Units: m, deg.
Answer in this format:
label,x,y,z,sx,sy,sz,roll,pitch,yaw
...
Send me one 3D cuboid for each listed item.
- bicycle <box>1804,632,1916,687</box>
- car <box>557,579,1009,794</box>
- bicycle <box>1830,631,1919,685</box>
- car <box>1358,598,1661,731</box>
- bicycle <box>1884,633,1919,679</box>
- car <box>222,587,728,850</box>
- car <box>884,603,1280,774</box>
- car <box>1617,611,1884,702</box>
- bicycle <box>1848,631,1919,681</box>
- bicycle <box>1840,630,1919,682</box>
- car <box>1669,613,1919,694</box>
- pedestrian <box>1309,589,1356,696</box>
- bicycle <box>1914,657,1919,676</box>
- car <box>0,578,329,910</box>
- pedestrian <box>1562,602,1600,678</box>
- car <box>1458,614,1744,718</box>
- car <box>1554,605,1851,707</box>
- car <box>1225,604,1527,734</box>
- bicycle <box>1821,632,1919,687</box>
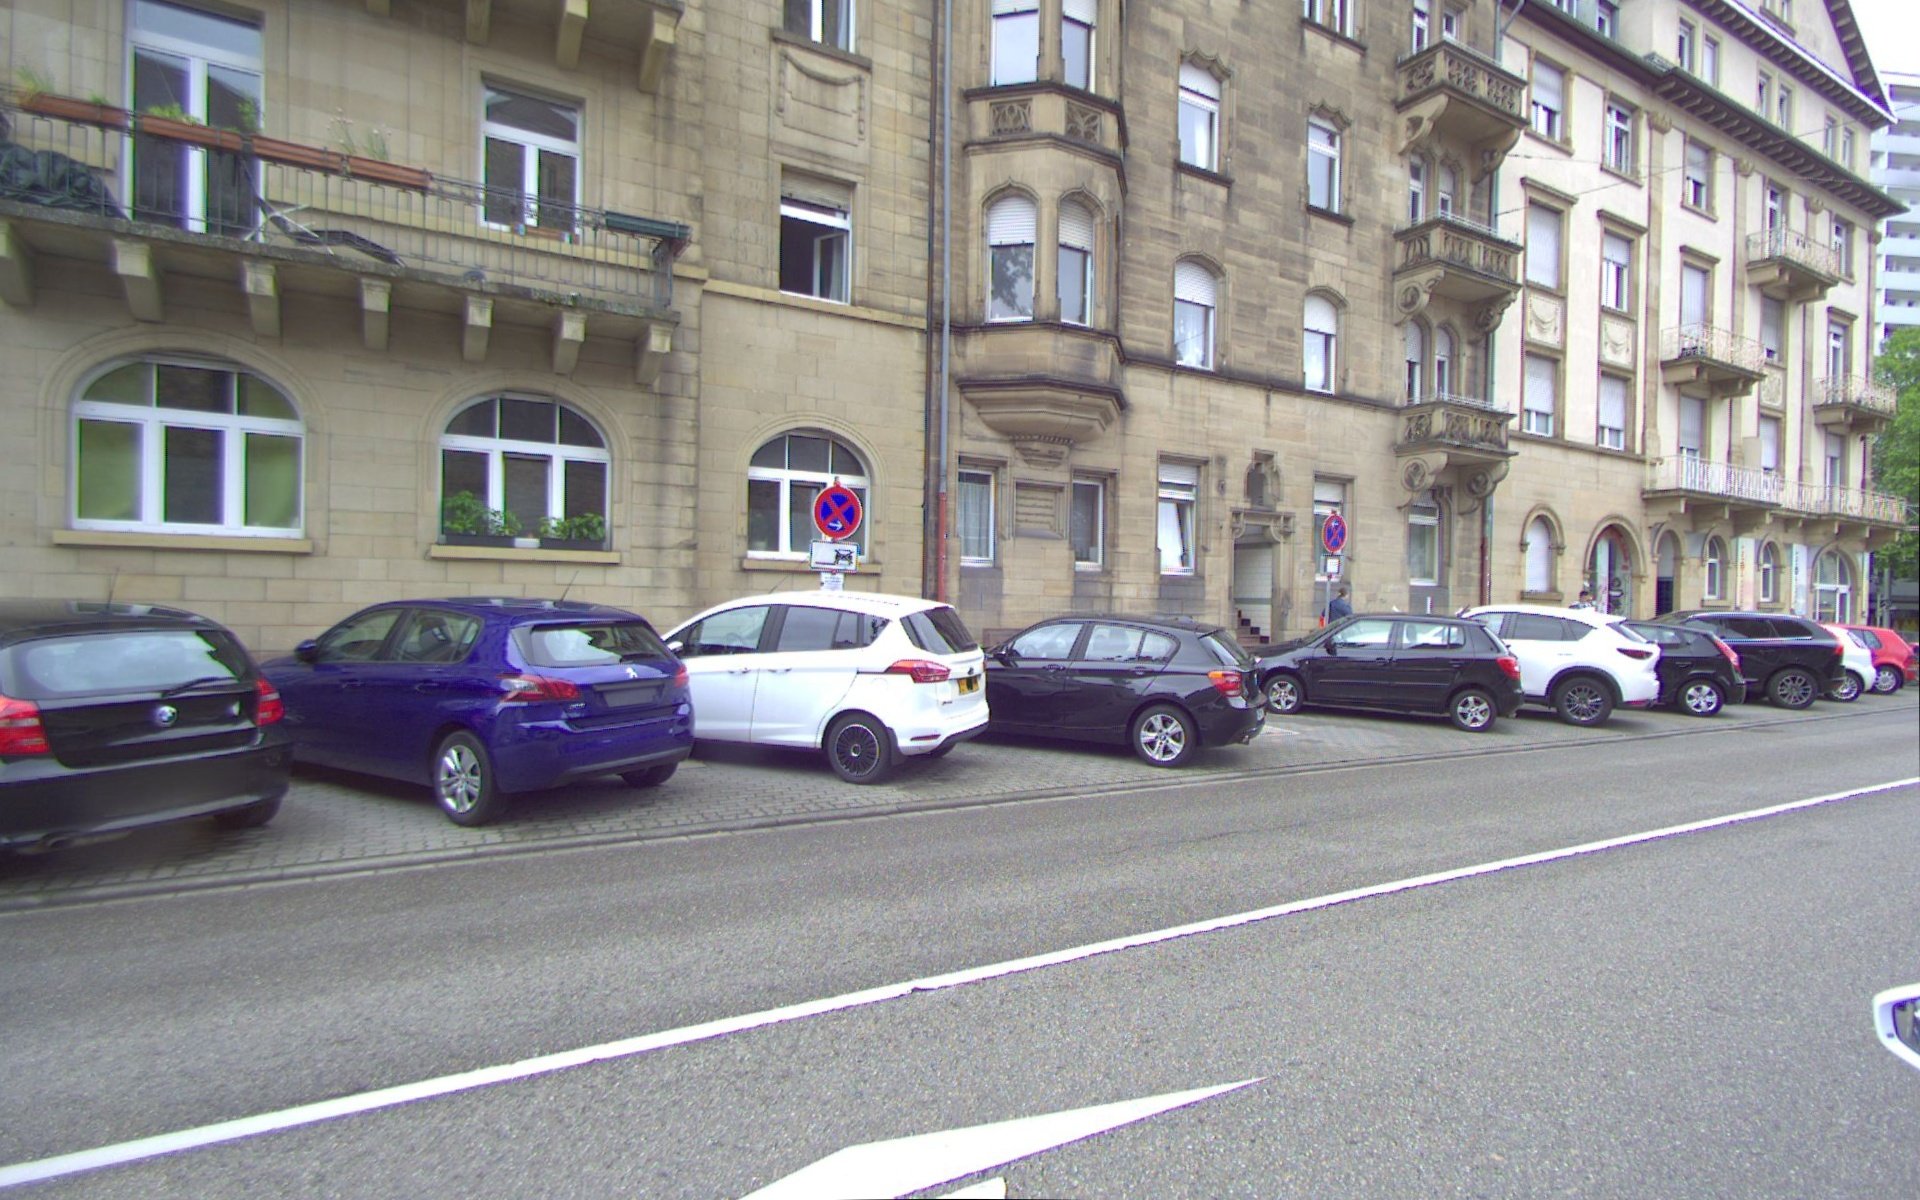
label,x,y,z,sx,sy,sz,roll,pitch,yaw
bicycle,21.304,1.391,23.831,0.436,1.050,1.879,1,4,-26
car,-1.689,0.676,9.612,3.922,1.575,1.702,3,2,22
bicycle,22.490,1.401,24.446,0.437,1.050,1.876,0,6,-31
car,8.526,0.893,15.704,3.935,1.746,1.835,2,0,36
bicycle,24.303,1.471,24.932,0.437,1.050,1.876,0,6,-31
car,-3.845,0.710,7.879,3.682,1.465,1.820,3,2,30
car,1.312,0.836,10.924,3.924,1.436,1.660,2,1,25
car,16.002,1.095,20.568,3.920,1.492,1.564,3,2,18
bicycle,23.566,1.422,25.147,0.437,1.050,1.876,0,6,-31
bicycle,23.044,1.392,24.795,0.437,1.050,1.876,0,6,-31
car,18.296,1.134,22.180,3.919,1.492,1.684,2,2,12
pedestrian,7.083,0.793,19.122,0.544,1.984,0.616,1,0,-29
bicycle,25.340,1.793,25.169,1.017,0.451,1.876,-1,6,-31
car,-6.012,0.661,6.329,3.927,1.457,1.730,3,2,28
pedestrian,15.027,0.946,24.301,0.544,1.809,0.564,1,0,-29
car,10.940,1.065,17.489,3.923,1.514,1.731,2,0,23
car,13.849,0.992,19.038,4.141,1.674,1.732,2,0,18
car,5.846,0.900,14.414,3.738,1.517,1.569,3,1,22
bicycle,22.041,1.408,24.163,0.437,1.050,1.876,0,6,-31
